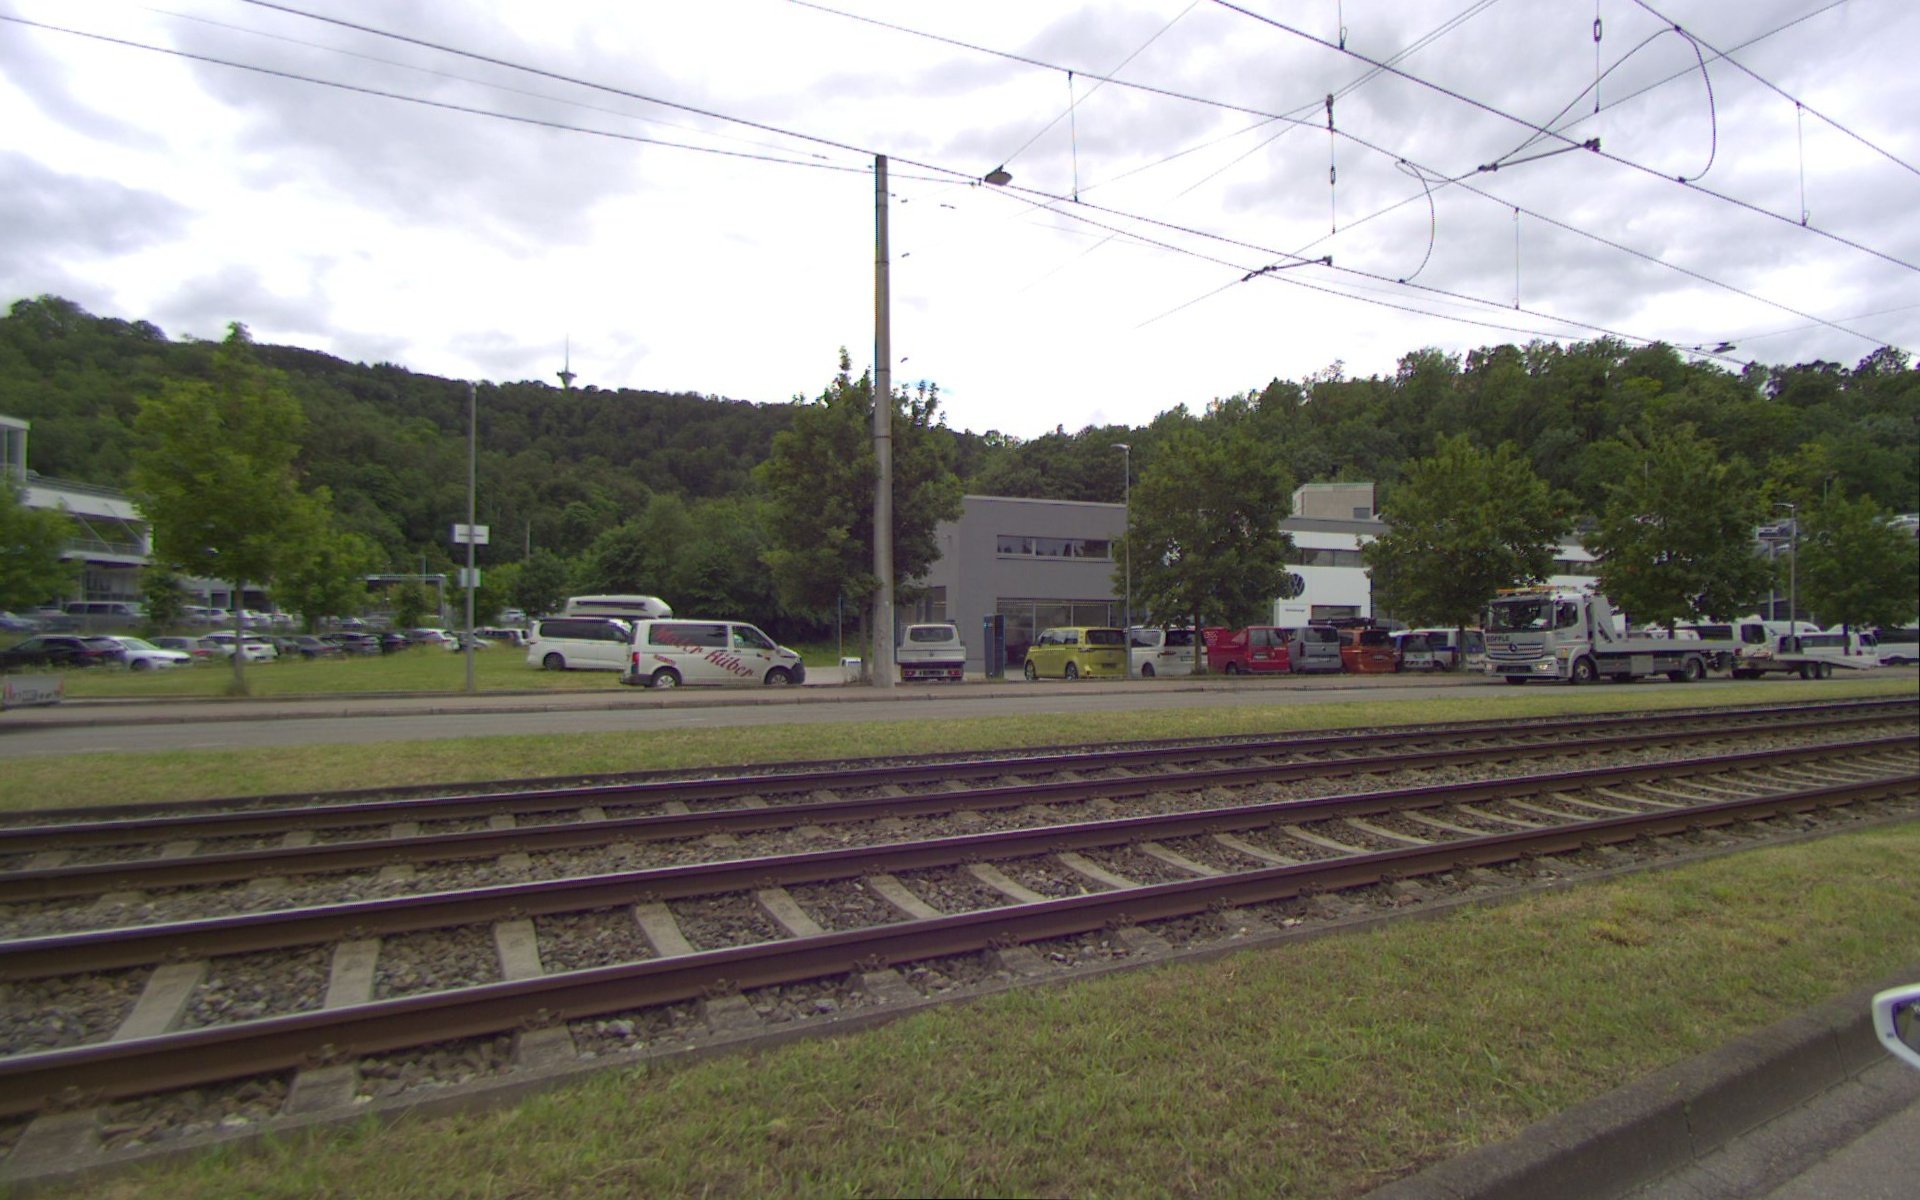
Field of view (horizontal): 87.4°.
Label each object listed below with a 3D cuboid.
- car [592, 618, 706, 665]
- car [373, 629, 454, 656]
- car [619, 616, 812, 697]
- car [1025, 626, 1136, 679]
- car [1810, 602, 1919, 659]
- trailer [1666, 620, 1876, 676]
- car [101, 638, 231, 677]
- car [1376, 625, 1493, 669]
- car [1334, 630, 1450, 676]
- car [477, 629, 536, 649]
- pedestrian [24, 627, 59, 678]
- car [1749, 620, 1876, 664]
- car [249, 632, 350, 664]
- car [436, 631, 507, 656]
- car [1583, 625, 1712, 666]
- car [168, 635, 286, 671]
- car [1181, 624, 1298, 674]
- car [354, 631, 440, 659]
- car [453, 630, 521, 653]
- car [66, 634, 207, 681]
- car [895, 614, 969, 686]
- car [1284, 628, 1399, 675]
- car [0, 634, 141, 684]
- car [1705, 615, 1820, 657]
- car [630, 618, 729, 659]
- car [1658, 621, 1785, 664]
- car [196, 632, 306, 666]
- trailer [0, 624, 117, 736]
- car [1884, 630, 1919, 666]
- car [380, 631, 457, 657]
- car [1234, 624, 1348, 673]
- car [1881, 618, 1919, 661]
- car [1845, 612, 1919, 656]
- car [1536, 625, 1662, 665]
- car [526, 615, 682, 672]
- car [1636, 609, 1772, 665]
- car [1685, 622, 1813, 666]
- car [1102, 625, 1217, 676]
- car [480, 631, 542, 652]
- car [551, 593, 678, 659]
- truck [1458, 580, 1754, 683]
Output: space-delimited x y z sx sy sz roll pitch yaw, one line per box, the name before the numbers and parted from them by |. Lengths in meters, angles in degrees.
car | -14.765 1.959 47.842 4.763 2.156 2.001 0 -1 3
car | -30.240 2.354 55.693 3.656 1.455 1.671 0 -1 -18
car | -6.602 1.487 27.220 4.795 2.040 1.988 1 -2 -25
car | 3.941 1.687 33.688 2.120 1.639 4.334 1 -1 -18
car | 45.938 1.504 50.152 2.085 2.734 4.955 1 -1 -23
trailer | 26.808 1.600 33.169 6.847 1.720 2.378 1 -4 -23
car | -31.407 2.255 39.853 3.656 1.455 1.671 0 -1 -18
car | 18.553 1.787 39.483 1.968 1.639 3.985 1 -1 -18
car | 16.481 1.994 38.552 1.968 1.639 3.985 1 -1 -18
car | -33.810 2.926 75.013 3.646 1.455 1.675 0 -1 -7
pedestrian | -28.333 1.617 30.997 0.600 1.544 0.500 0 -1 11
car | 41.797 2.026 49.377 1.976 2.037 4.356 1 -1 -23
car | -31.212 2.244 47.568 3.656 1.455 1.671 0 -1 -18
car | -30.251 2.682 62.310 3.654 1.455 1.672 0 -1 -16
car | 30.271 1.949 44.386 2.002 1.711 4.357 1 -1 -23
car | -30.987 2.234 42.588 3.656 1.455 1.671 0 -1 -18
car | 9.785 1.683 35.494 2.030 1.639 4.176 1 -1 -18
car | -29.937 2.384 53.507 3.656 1.455 1.671 0 -1 -18
car | -30.795 2.689 65.448 3.646 1.455 1.675 0 -1 -7
car | -30.653 2.116 37.501 3.656 1.639 1.671 0 -1 -18
car | -0.910 1.519 31.229 2.102 2.034 5.714 0 -2 -3
car | 14.217 1.891 37.664 1.968 1.639 3.985 1 -1 -18
car | -31.044 2.015 34.862 3.656 1.639 1.671 0 -1 -18
car | 52.990 2.340 66.381 5.866 2.636 1.994 -1 -2 42
car | -15.227 2.074 54.666 4.763 2.156 2.001 0 -1 3
car | 35.061 1.928 46.399 1.973 1.869 4.362 1 -1 -18
car | -31.619 2.183 44.905 3.656 1.455 1.671 0 -1 -18
trailer | -16.239 1.131 13.392 7.130 1.514 2.750 1 -4 -26
car | 52.817 2.598 53.918 1.976 1.936 4.356 1 -1 -23
car | -31.334 2.508 58.194 3.656 1.455 1.671 0 -1 -18
car | 12.051 1.732 36.859 2.015 1.686 3.985 1 -1 -18
car | 50.718 2.033 51.784 1.976 2.201 4.356 1 -1 -23
car | 48.295 1.739 51.231 1.976 2.201 4.356 1 -1 -23
car | 27.780 1.933 43.837 1.973 1.639 4.362 1 -1 -18
car | -13.047 1.590 37.037 5.034 2.040 1.999 0 -1 -3
car | 32.970 1.629 44.697 2.092 2.342 4.493 1 -1 -18
car | 37.076 2.028 47.343 1.973 1.973 4.362 1 -1 -18
car | 6.828 1.704 34.832 2.086 1.639 4.343 1 -1 -18
car | -31.986 2.928 71.592 3.646 1.455 1.675 0 -1 -7
car | -14.839 1.123 43.351 4.765 2.741 2.000 0 -1 -1
truck | 19.443 0.974 30.130 9.087 2.777 2.751 1 -3 -23
